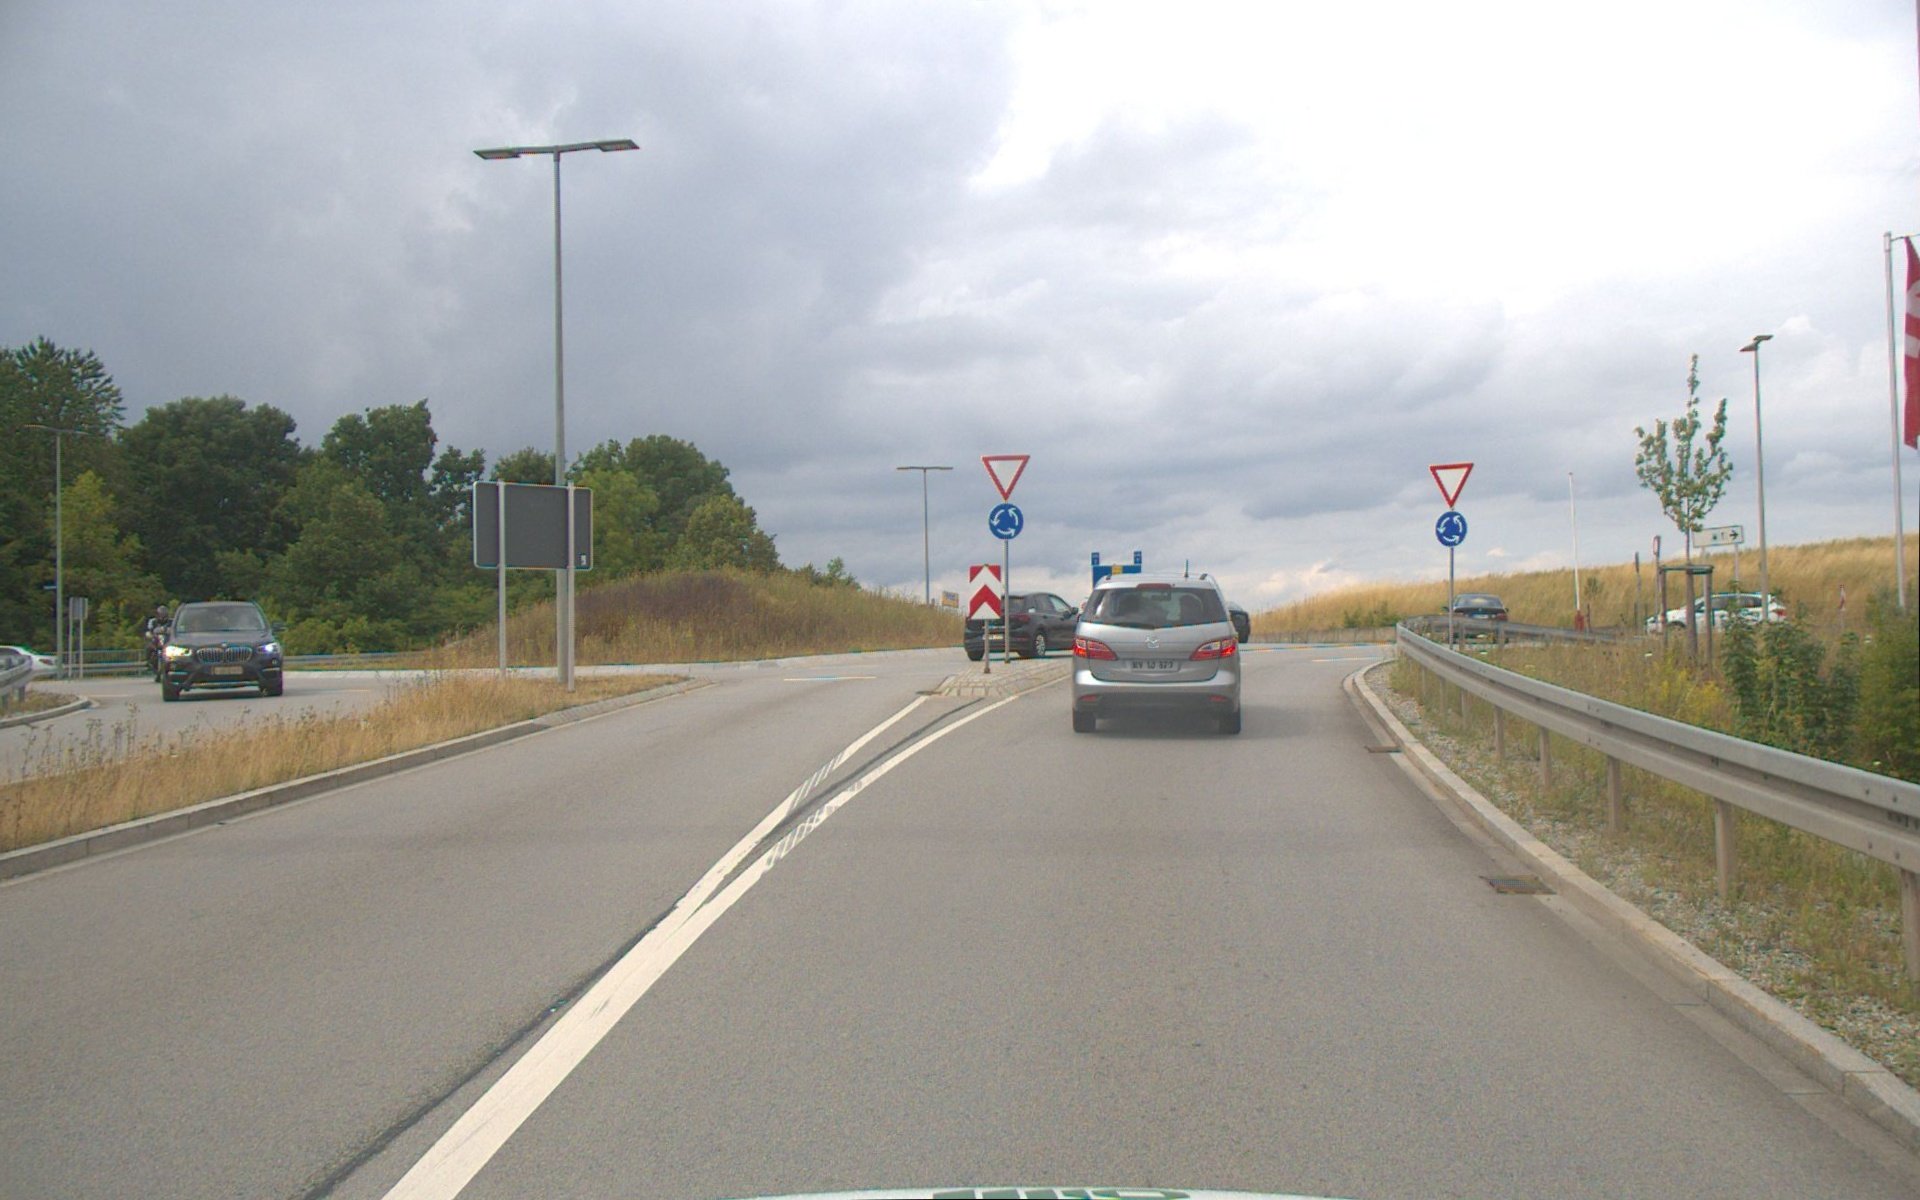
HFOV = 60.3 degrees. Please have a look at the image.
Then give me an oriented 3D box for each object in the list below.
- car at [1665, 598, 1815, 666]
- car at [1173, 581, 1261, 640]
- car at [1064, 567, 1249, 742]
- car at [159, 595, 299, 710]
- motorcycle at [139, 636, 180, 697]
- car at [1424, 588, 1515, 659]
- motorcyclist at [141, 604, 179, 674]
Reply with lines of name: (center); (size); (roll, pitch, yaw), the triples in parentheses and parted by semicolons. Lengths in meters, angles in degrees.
car: (25.064, 1.034, 53.243); (3.951, 2.049, 1.796); (-2, -1, 9)
car: (8.447, 0.388, 54.709); (1.859, 1.814, 4.151); (-1, -1, -6)
car: (2.201, 0.503, 17.986); (1.729, 1.645, 3.925); (-2, 0, 9)
car: (-12.454, 0.851, 28.057); (1.833, 1.694, 4.124); (-3, 0, -28)
motorcycle: (-18.165, 1.504, 37.577); (0.739, 1.324, 2.466); (-1, -1, -24)
car: (14.257, 0.673, 46.473); (1.618, 1.870, 3.959); (-2, -1, 5)
motorcyclist: (-18.097, 0.886, 37.422); (0.720, 1.553, 0.651); (-1, -2, -25)
